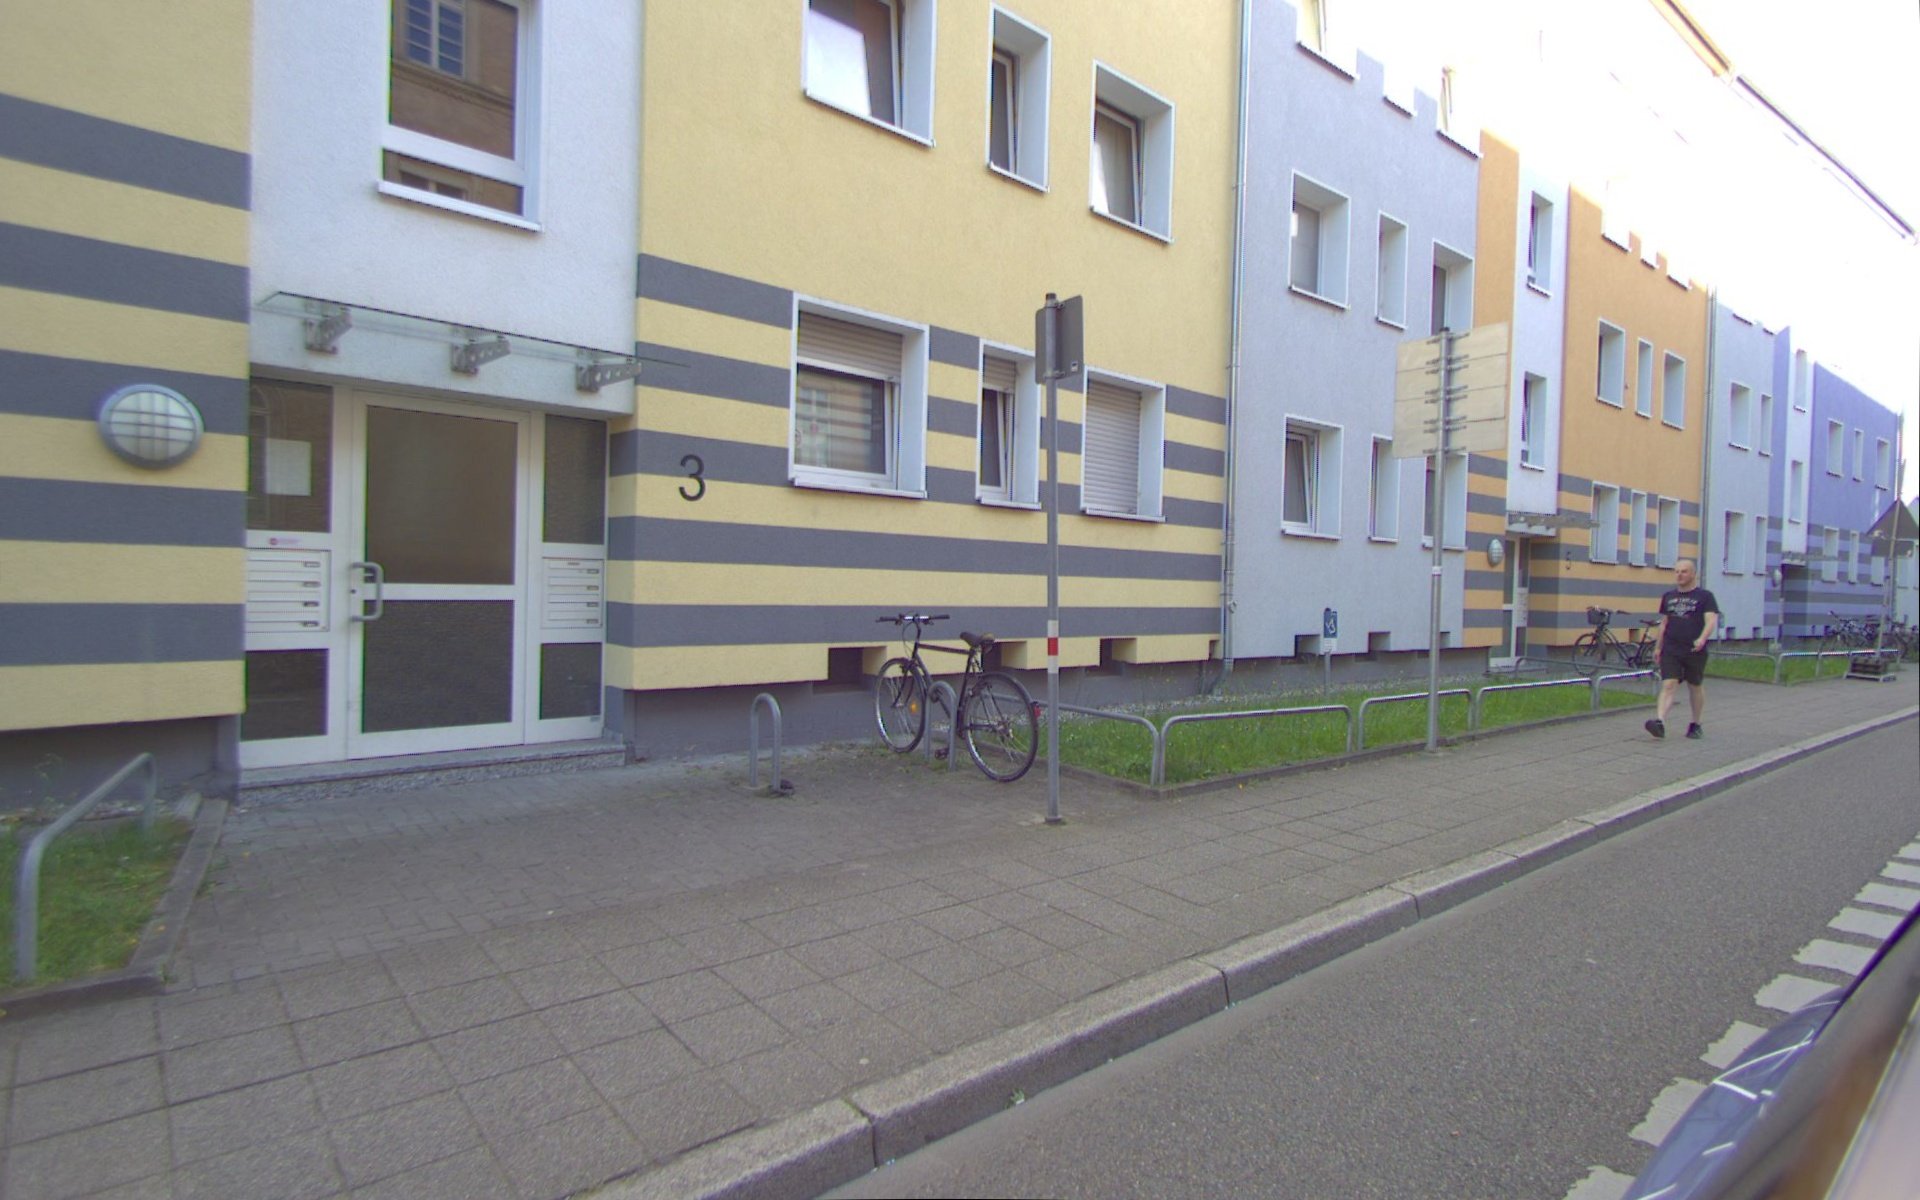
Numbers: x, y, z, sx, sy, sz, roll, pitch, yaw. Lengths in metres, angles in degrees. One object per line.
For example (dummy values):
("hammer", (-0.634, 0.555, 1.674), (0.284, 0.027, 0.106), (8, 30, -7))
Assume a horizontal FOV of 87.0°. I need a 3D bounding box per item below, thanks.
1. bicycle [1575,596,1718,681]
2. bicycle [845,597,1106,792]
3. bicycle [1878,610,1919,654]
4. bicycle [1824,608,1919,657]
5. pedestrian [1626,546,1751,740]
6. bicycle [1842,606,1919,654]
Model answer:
("bicycle", (10.734, 0.578, 15.868), (0.625, 1.173, 1.709), (1, 3, -42))
("bicycle", (0.040, 0.572, 7.048), (0.625, 1.074, 1.946), (1, 3, -42))
("bicycle", (24.142, 0.823, 25.287), (0.625, 1.048, 1.709), (1, 3, -42))
("bicycle", (22.273, 0.773, 24.673), (0.624, 1.058, 1.711), (1, 2, -39))
("pedestrian", (7.266, 0.400, 10.092), (0.898, 1.810, 0.646), (1, 4, -38))
("bicycle", (23.242, 0.745, 25.268), (0.625, 1.095, 1.711), (1, 2, -40))
